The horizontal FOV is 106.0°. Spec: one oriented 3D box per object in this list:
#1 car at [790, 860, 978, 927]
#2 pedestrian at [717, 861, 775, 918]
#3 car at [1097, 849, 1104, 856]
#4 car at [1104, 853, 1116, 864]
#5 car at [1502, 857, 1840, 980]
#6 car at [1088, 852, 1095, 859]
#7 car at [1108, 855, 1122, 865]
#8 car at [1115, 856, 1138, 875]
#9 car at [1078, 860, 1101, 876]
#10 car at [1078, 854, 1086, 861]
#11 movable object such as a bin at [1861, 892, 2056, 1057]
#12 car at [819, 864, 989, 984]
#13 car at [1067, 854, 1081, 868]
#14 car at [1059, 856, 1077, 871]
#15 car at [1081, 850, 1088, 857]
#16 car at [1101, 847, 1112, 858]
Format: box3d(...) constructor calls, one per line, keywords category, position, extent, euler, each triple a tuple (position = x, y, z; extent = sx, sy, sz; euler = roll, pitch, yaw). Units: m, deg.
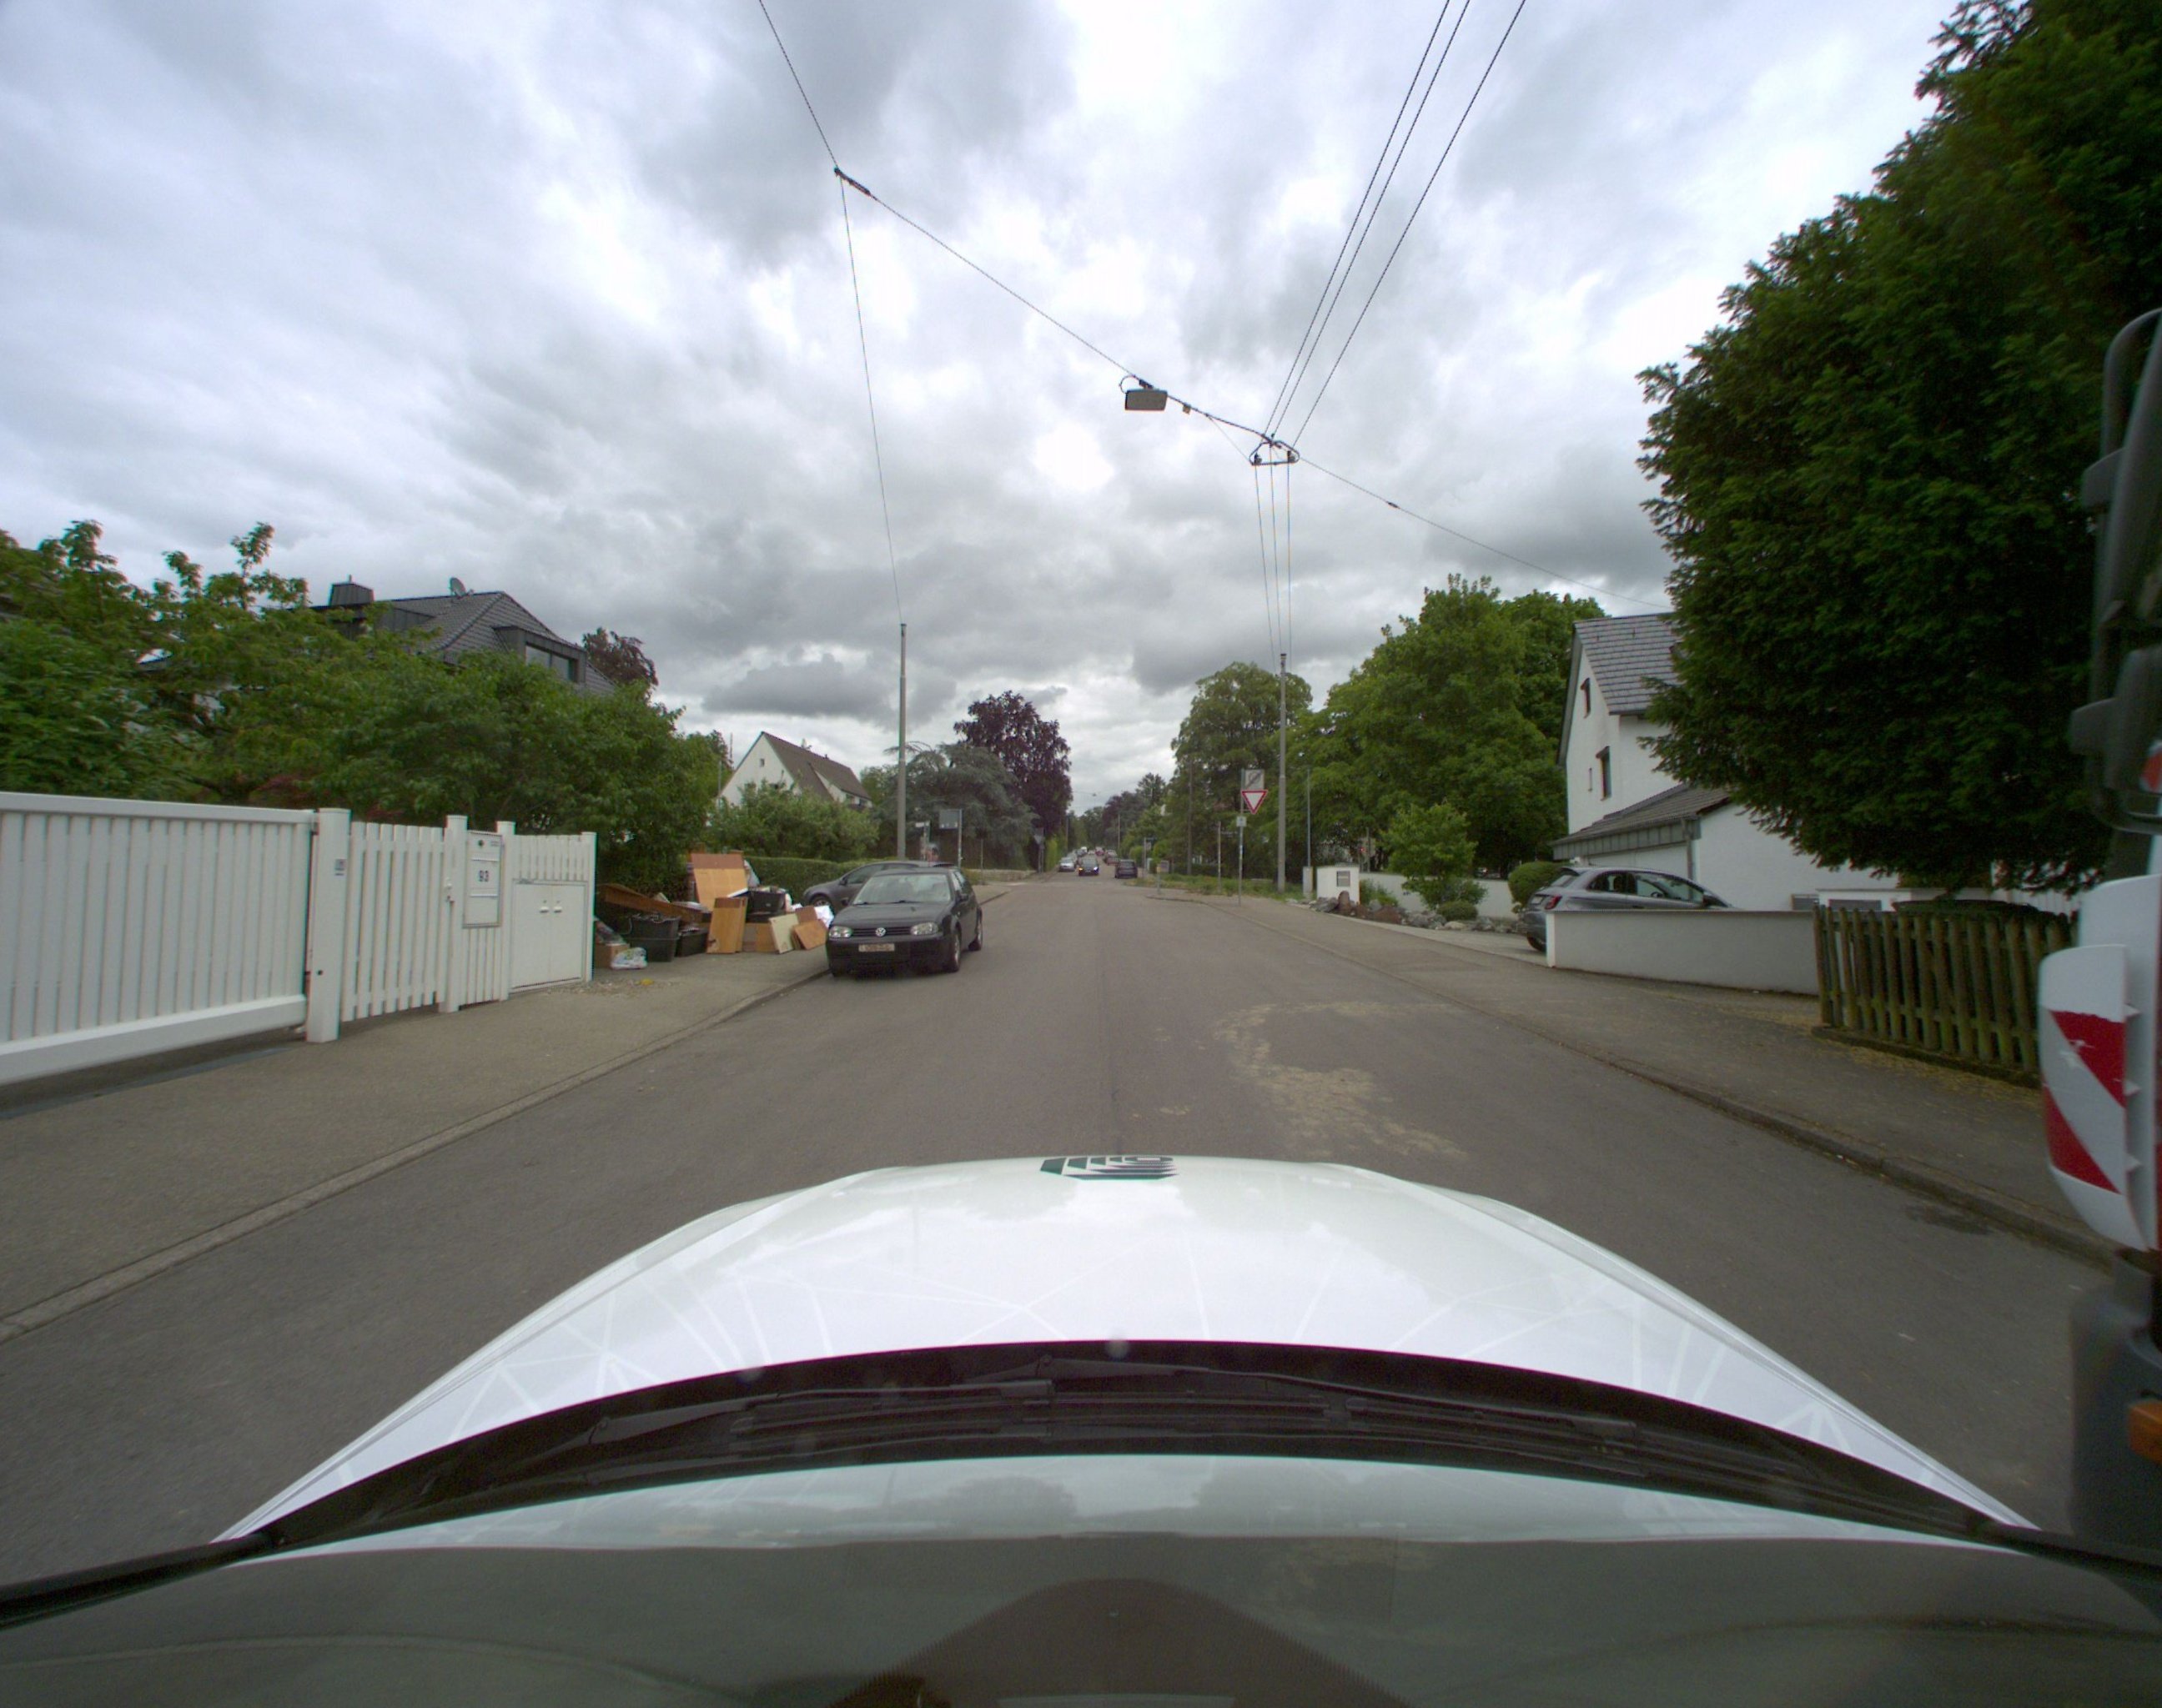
box3d(category="car", position=(-4.675, 0.875, 19.455), extent=(3.956, 1.444, 1.835), euler=(0, 0, 17))
box3d(category="pedestrian", position=(-7.438, 0.778, 18.094), extent=(0.954, 1.225, 0.826), euler=(1, -2, -41))
box3d(category="car", position=(4.891, -0.308, 204.289), extent=(1.628, 1.701, 3.494), euler=(1, 0, 0))
box3d(category="car", position=(4.280, 0.630, 121.062), extent=(1.782, 1.529, 3.736), euler=(0, 0, 2))
box3d(category="car", position=(9.150, 0.952, 13.032), extent=(3.957, 1.472, 1.796), euler=(4, -1, 16))
box3d(category="car", position=(3.337, 0.499, 252.882), extent=(1.987, 1.882, 4.000), euler=(2, 0, 0))
box3d(category="car", position=(4.707, 0.796, 112.182), extent=(1.804, 1.335, 3.632), euler=(1, 1, 0))
box3d(category="car", position=(3.803, 0.950, 68.598), extent=(1.773, 1.489, 3.999), euler=(1, 0, 0))
box3d(category="car", position=(0.846, 1.303, 75.478), extent=(1.719, 1.407, 3.810), euler=(0, -1, 7))
box3d(category="car", position=(0.189, 0.714, 177.024), extent=(1.621, 1.386, 3.598), euler=(2, 0, 0))
box3d(category="movable object such as a bin", position=(6.991, 0.926, 6.521), extent=(0.688, 1.155, 0.764), euler=(7, -2, -8))
box3d(category="car", position=(-2.436, 0.895, 12.163), extent=(1.632, 1.395, 3.988), euler=(-2, 0, 0))
box3d(category="car", position=(-0.839, 0.808, 99.168), extent=(1.628, 1.701, 3.762), euler=(1, 0, 0))
box3d(category="car", position=(-1.379, 1.061, 88.571), extent=(1.704, 1.586, 4.004), euler=(0, 0, 4))
box3d(category="car", position=(0.861, -0.169, 224.100), extent=(1.811, 1.882, 4.000), euler=(2, 0, 0))
box3d(category="car", position=(4.189, -0.282, 133.050), extent=(1.628, 1.701, 3.494), euler=(1, 0, 0))
